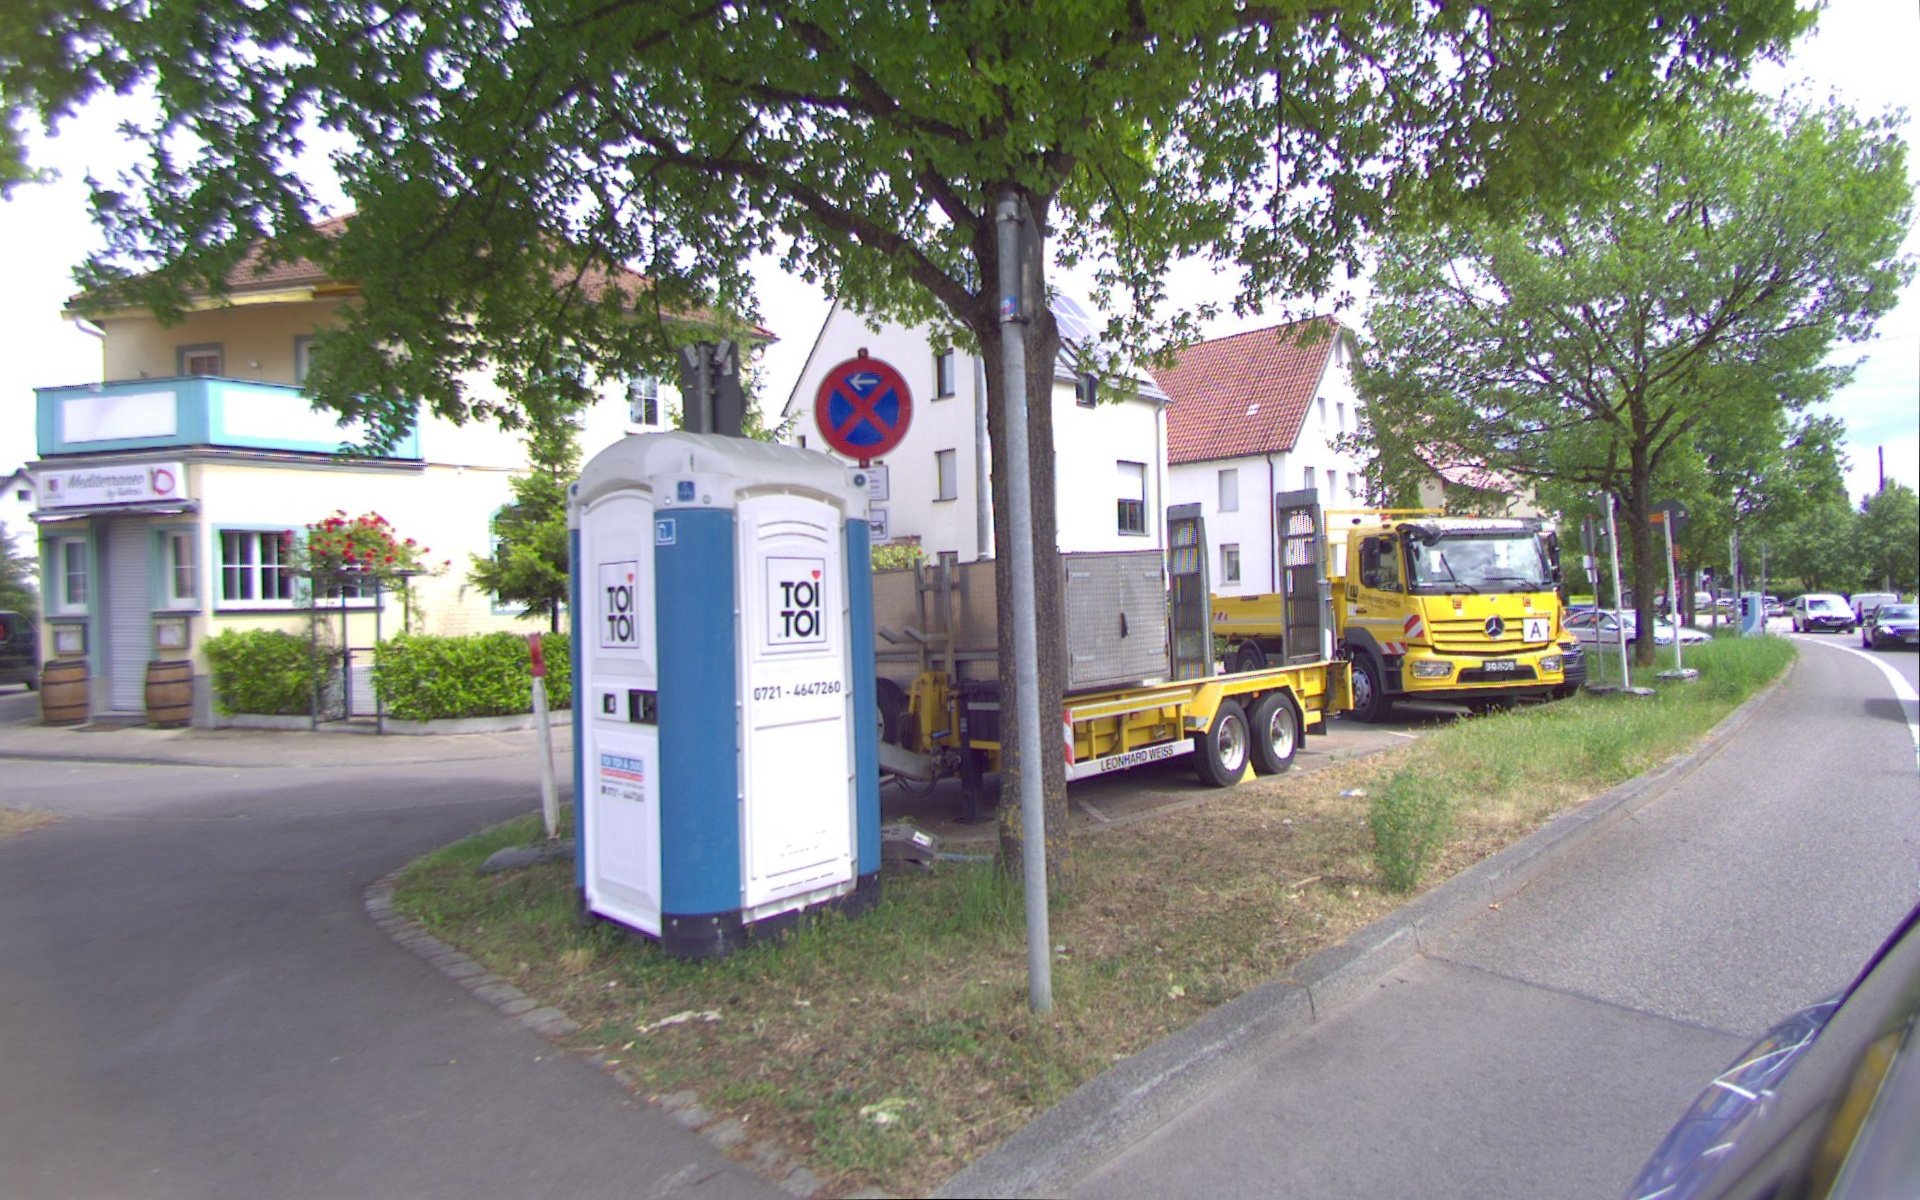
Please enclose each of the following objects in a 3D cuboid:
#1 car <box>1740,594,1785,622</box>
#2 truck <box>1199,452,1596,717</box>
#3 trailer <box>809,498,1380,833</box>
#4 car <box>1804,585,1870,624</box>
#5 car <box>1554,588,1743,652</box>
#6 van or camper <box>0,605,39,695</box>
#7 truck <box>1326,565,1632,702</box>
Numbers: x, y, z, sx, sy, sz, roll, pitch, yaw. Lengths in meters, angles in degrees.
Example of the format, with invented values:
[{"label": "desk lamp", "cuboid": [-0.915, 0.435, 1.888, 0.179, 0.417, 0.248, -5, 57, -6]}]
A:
[{"label": "car", "cuboid": [50.052, 0.474, 63.148, 1.988, 1.683, 3.948, -1, 0, 36]}, {"label": "truck", "cuboid": [6.220, -0.027, 15.818, 2.294, 3.241, 6.639, 0, -3, -10]}, {"label": "trailer", "cuboid": [1.592, 0.465, 9.800, 2.592, 2.274, 5.583, -4, -2, 44]}, {"label": "car", "cuboid": [41.083, 0.192, 47.489, 1.988, 1.751, 4.050, -1, 0, 36]}, {"label": "car", "cuboid": [18.460, 0.469, 27.418, 1.960, 1.598, 4.311, 0, 1, -4]}, {"label": "van or camper", "cuboid": [-22.274, 1.121, 22.088, 1.814, 2.024, 4.099, 0, -1, -21]}, {"label": "truck", "cuboid": [8.947, 0.593, 18.309, 1.960, 2.040, 5.961, -1, -2, -5]}]
